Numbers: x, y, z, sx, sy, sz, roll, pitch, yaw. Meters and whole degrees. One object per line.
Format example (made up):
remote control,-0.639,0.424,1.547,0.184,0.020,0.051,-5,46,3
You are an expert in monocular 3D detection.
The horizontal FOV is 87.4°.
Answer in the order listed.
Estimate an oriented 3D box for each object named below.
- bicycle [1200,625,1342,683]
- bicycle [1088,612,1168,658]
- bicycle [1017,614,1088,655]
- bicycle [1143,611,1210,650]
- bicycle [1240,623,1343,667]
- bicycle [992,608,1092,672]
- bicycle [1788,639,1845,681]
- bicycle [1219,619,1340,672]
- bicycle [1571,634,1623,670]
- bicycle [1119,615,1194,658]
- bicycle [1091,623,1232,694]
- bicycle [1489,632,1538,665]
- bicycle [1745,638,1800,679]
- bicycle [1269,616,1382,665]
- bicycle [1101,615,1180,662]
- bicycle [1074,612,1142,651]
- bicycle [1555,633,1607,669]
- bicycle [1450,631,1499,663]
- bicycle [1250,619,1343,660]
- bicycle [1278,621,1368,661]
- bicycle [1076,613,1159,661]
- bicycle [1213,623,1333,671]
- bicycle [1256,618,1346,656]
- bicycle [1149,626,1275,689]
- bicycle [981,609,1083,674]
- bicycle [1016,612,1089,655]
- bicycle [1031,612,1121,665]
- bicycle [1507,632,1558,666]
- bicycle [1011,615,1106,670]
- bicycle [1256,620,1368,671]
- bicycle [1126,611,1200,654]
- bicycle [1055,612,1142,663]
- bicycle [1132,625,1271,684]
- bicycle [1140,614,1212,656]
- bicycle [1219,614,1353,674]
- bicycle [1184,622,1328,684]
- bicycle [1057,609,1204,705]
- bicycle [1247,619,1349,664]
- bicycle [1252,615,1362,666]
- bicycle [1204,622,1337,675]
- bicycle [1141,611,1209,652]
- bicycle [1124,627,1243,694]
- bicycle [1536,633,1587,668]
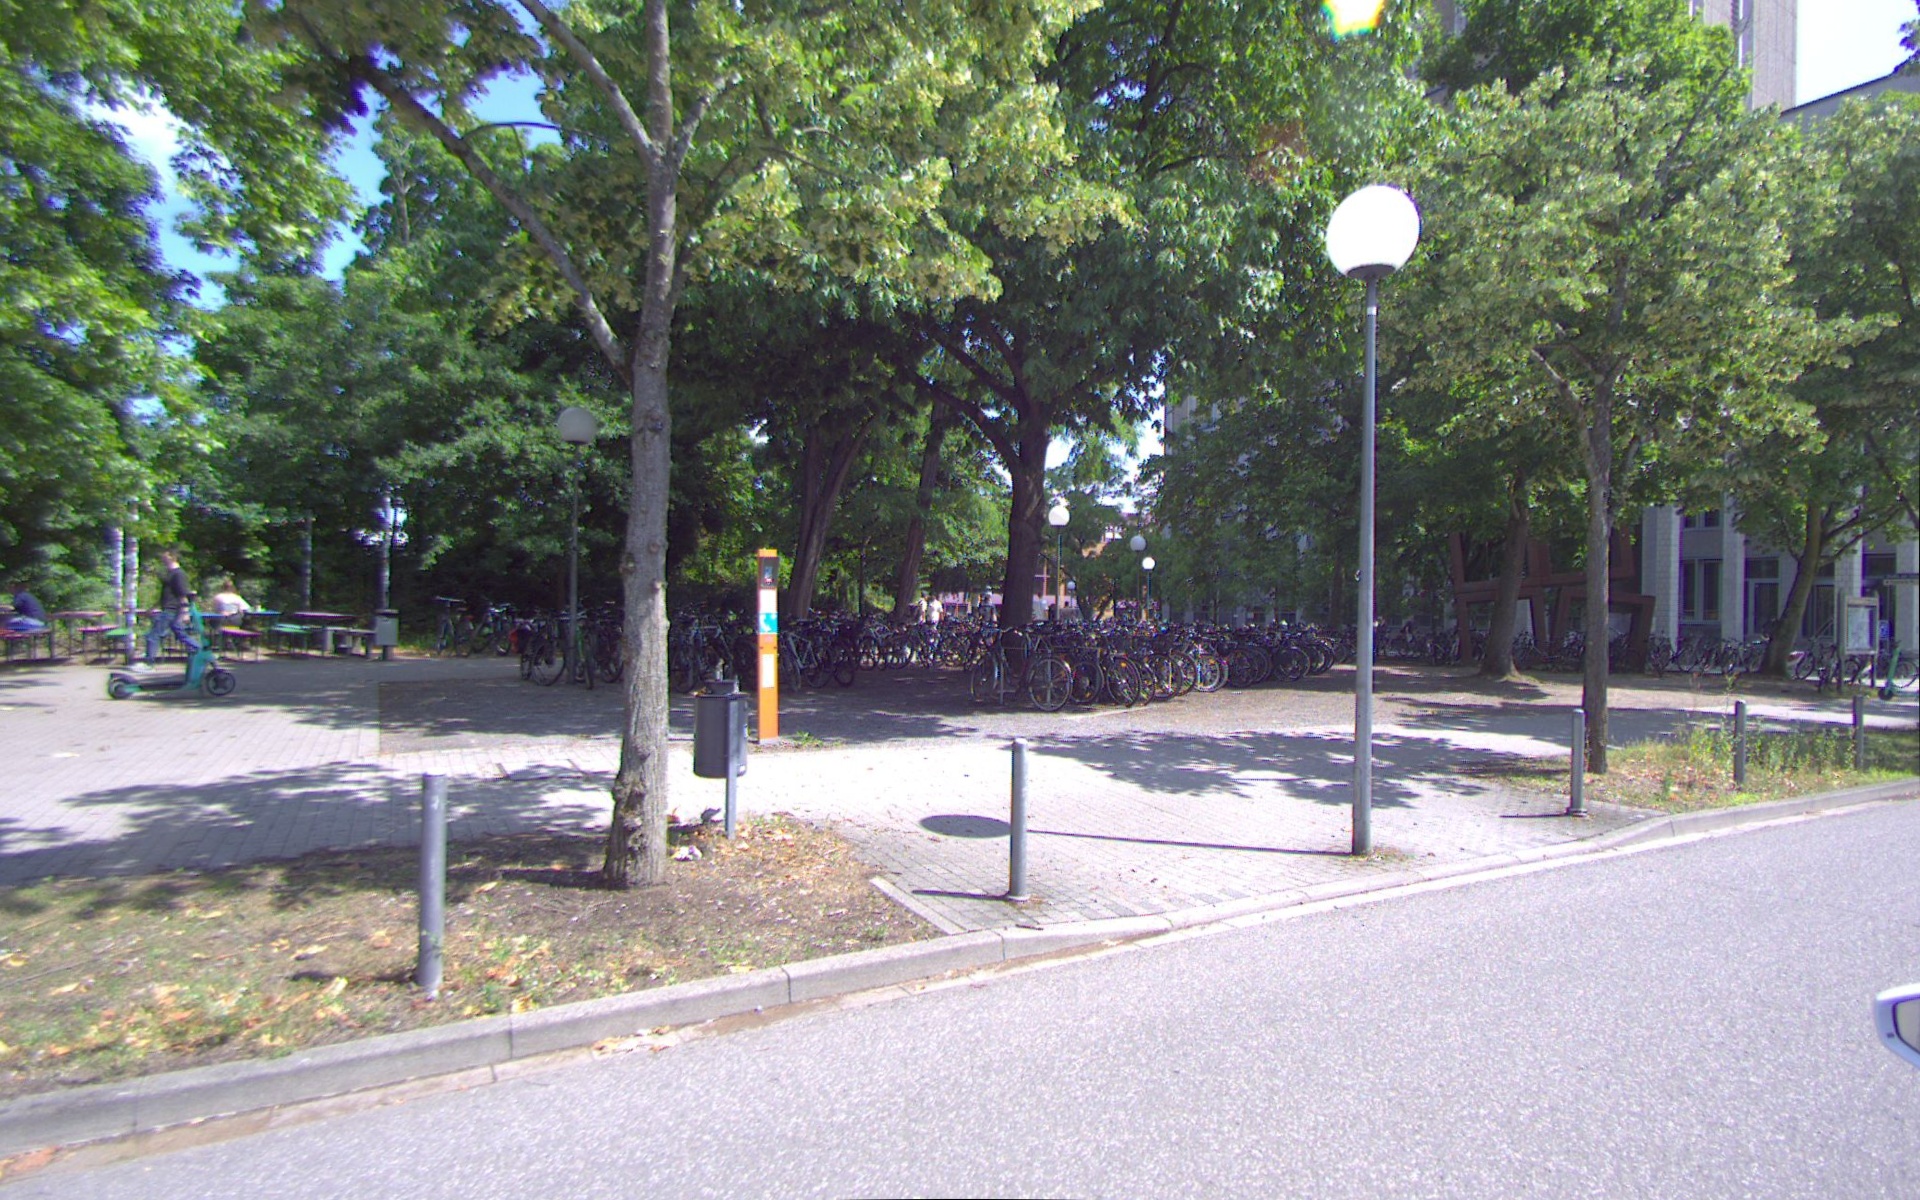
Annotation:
bicycle,6.514,1.120,21.159,2.777,1.064,0.883,1,0,18
bicycle,4.522,0.932,27.095,2.021,1.147,0.639,1,1,25
bicycle,2.789,1.028,30.305,2.021,1.147,0.639,1,1,25
bicycle,7.245,1.013,33.621,2.021,1.147,0.639,4,2,25
bicycle,9.096,1.226,27.658,2.630,1.091,0.883,1,0,18
bicycle,1.772,0.847,21.759,2.021,1.251,0.639,2,1,25
bicycle,23.377,1.625,27.415,1.950,1.101,0.549,2,1,-31
bicycle,8.003,1.119,25.260,2.826,1.193,0.883,1,0,18
bicycle,20.414,1.654,32.176,1.950,1.101,0.549,2,1,-31
bicycle,5.682,1.047,29.024,2.021,1.147,0.639,1,1,25
bicycle,3.244,0.922,16.270,2.116,1.022,0.676,2,0,31
bicycle,19.208,1.691,34.829,1.950,1.101,0.549,2,1,-31
bicycle,23.084,1.651,28.530,1.950,1.101,0.549,2,1,-31
bicycle,10.668,1.170,29.455,3.021,1.314,0.883,1,0,18
bicycle,5.045,1.062,28.092,2.021,1.147,0.639,4,2,25
bicycle,4.697,0.981,31.862,2.021,1.147,0.639,2,1,25
bicycle,20.264,1.668,32.757,1.950,1.101,0.549,2,1,-31
bicycle,18.406,1.692,35.926,1.950,1.101,0.549,2,1,-31
bicycle,10.850,1.258,32.463,2.781,1.249,0.743,1,0,18
bicycle,11.994,1.342,33.272,2.708,1.083,0.743,4,1,18
bicycle,4.078,0.937,26.043,2.021,1.147,0.639,1,1,25
bicycle,7.533,1.121,24.237,2.679,1.016,0.883,1,0,18
bicycle,11.657,1.255,34.460,2.853,1.171,0.743,2,0,18
bicycle,4.587,1.024,18.371,2.115,1.022,0.677,2,0,30
bicycle,1.503,0.855,21.100,2.021,1.251,0.639,2,1,25
bicycle,2.702,0.966,29.391,2.021,1.147,0.639,1,1,25
bicycle,2.761,0.904,23.955,2.021,1.173,0.639,1,1,25
bicycle,19.405,1.672,34.037,1.950,1.101,0.549,2,1,-31
bicycle,2.212,0.944,22.711,2.021,1.147,0.639,2,1,25
bicycle,9.088,1.165,26.028,2.655,1.195,0.883,1,0,18
bicycle,6.051,0.959,30.009,2.021,1.147,0.639,3,2,25
bicycle,3.430,0.920,24.923,2.021,1.147,0.639,2,1,25
bicycle,4.743,1.048,19.745,2.598,1.022,0.678,1,0,18
bicycle,6.701,1.068,31.167,2.021,1.147,0.639,4,1,25
bicycle,7.452,0.978,23.063,2.850,1.237,0.883,1,0,18
bicycle,5.961,1.040,20.310,2.696,1.101,0.883,1,0,18
bicycle,2.530,0.808,15.066,2.031,1.251,0.804,3,1,43
bicycle,10.437,1.264,31.131,2.902,1.141,0.743,4,1,18
bicycle,9.846,1.136,28.615,2.875,1.304,0.883,1,0,18
bicycle,6.811,1.042,22.107,2.728,1.028,0.883,1,0,18
bicycle,6.977,1.021,32.636,2.021,1.147,0.674,4,2,25
bicycle,3.833,1.010,17.248,1.858,1.022,0.676,2,0,31
bicycle,19.942,1.671,33.275,1.950,1.101,0.549,2,1,-31
